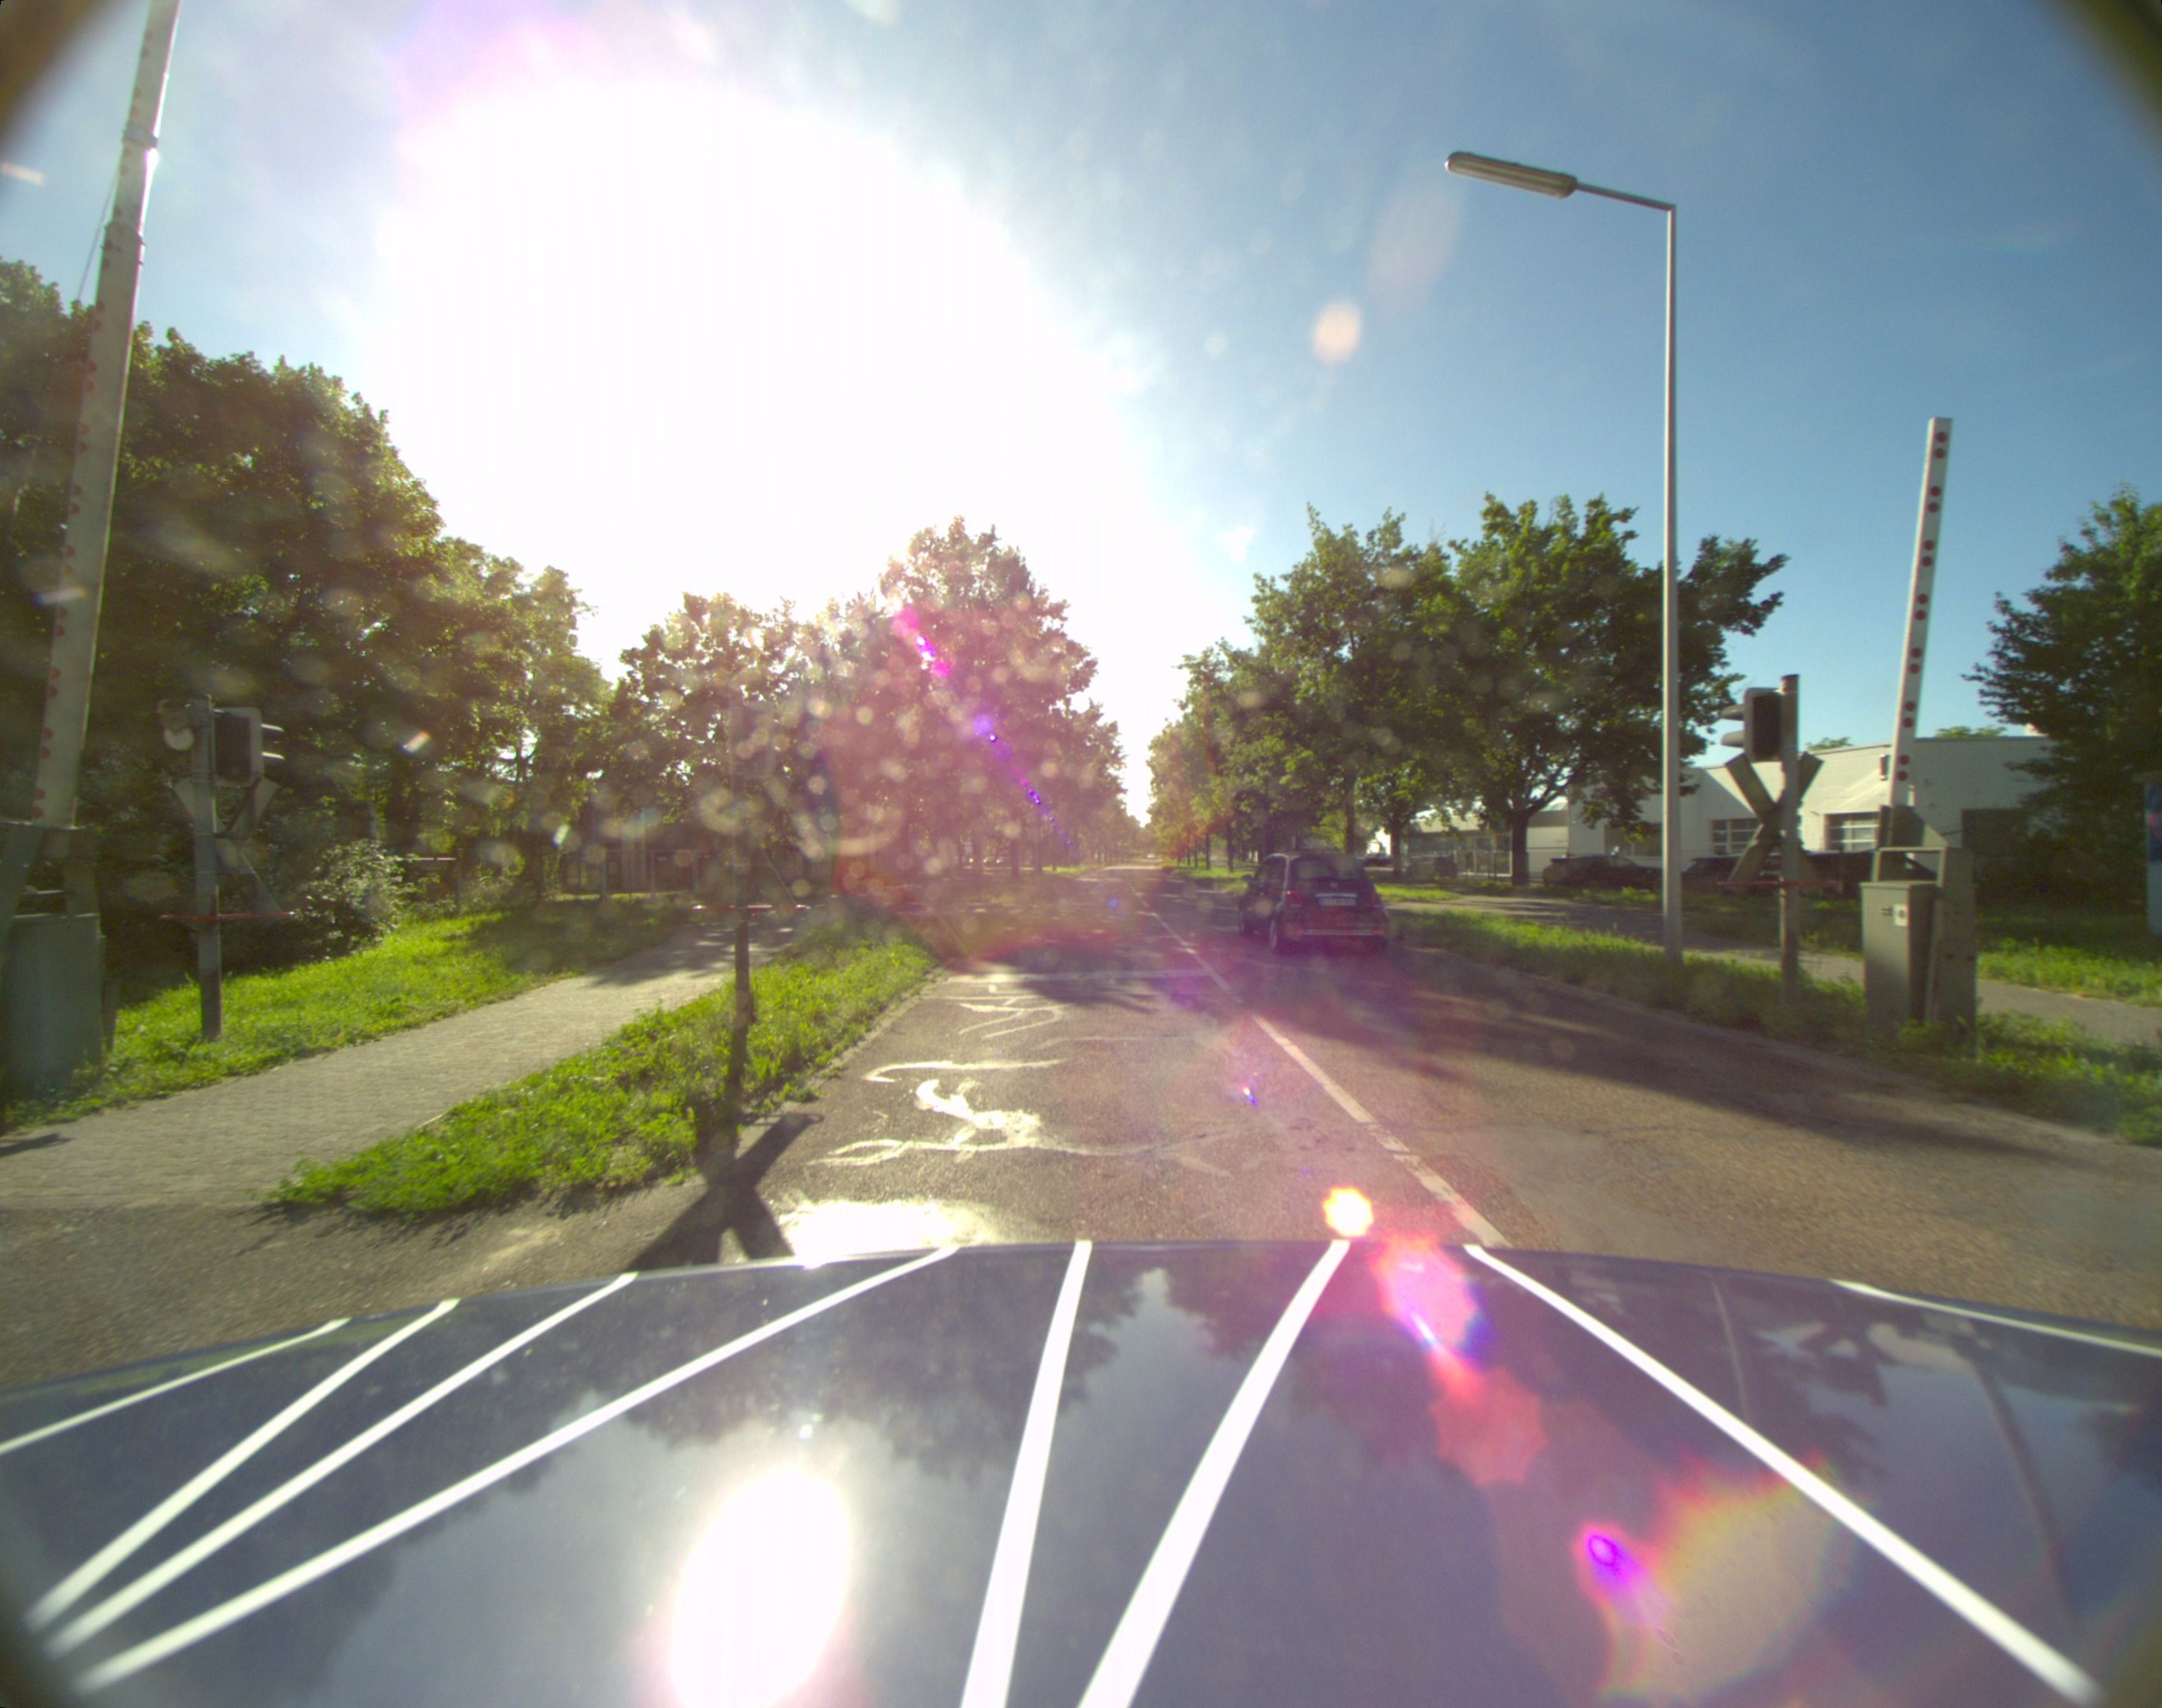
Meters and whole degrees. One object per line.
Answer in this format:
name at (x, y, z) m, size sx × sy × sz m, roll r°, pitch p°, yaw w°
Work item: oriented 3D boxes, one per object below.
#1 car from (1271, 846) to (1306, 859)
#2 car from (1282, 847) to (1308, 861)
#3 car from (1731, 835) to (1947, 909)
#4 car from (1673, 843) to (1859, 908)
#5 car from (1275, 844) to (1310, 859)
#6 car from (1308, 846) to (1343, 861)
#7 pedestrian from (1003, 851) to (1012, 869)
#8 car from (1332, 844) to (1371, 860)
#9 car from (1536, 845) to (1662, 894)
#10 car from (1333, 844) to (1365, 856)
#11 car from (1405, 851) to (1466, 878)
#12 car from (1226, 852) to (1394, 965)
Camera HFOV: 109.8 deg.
car at (27.934, -0.251, 102.556) m, size 4.319 × 1.510 × 1.862 m, roll -3°, pitch 1°, yaw 7°
car at (22.895, -0.028, 81.250) m, size 2.569 × 1.461 × 1.427 m, roll -1°, pitch 1°, yaw 21°
car at (21.602, 0.474, 21.772) m, size 4.201 × 1.791 × 1.999 m, roll -3°, pitch 1°, yaw -1°
car at (22.067, 0.666, 24.610) m, size 4.201 × 1.791 × 1.999 m, roll -3°, pitch 1°, yaw -1°
car at (27.012, -0.360, 97.001) m, size 3.994 × 1.732 × 2.001 m, roll -3°, pitch 1°, yaw 8°
car at (28.978, -0.083, 90.079) m, size 2.000 × 1.665 × 4.495 m, roll -3°, pitch 1°, yaw -11°
pedestrian at (-6.769, 0.541, 69.985) m, size 0.609 × 1.621 × 0.719 m, roll 1°, pitch 1°, yaw 5°
car at (31.965, -0.262, 90.012) m, size 2.000 × 1.708 × 5.255 m, roll -3°, pitch 1°, yaw -9°
car at (22.015, 0.637, 32.403) m, size 3.998 × 1.791 × 1.999 m, roll -3°, pitch 1°, yaw -3°
car at (38.115, -0.603, 108.176) m, size 3.995 × 1.510 × 1.752 m, roll -3°, pitch 1°, yaw 7°
car at (23.722, 0.678, 51.064) m, size 1.998 × 1.588 × 5.015 m, roll -3°, pitch 1°, yaw 3°
car at (3.498, 0.737, 12.345) m, size 1.569 × 1.496 × 3.999 m, roll 0°, pitch 1°, yaw 1°
